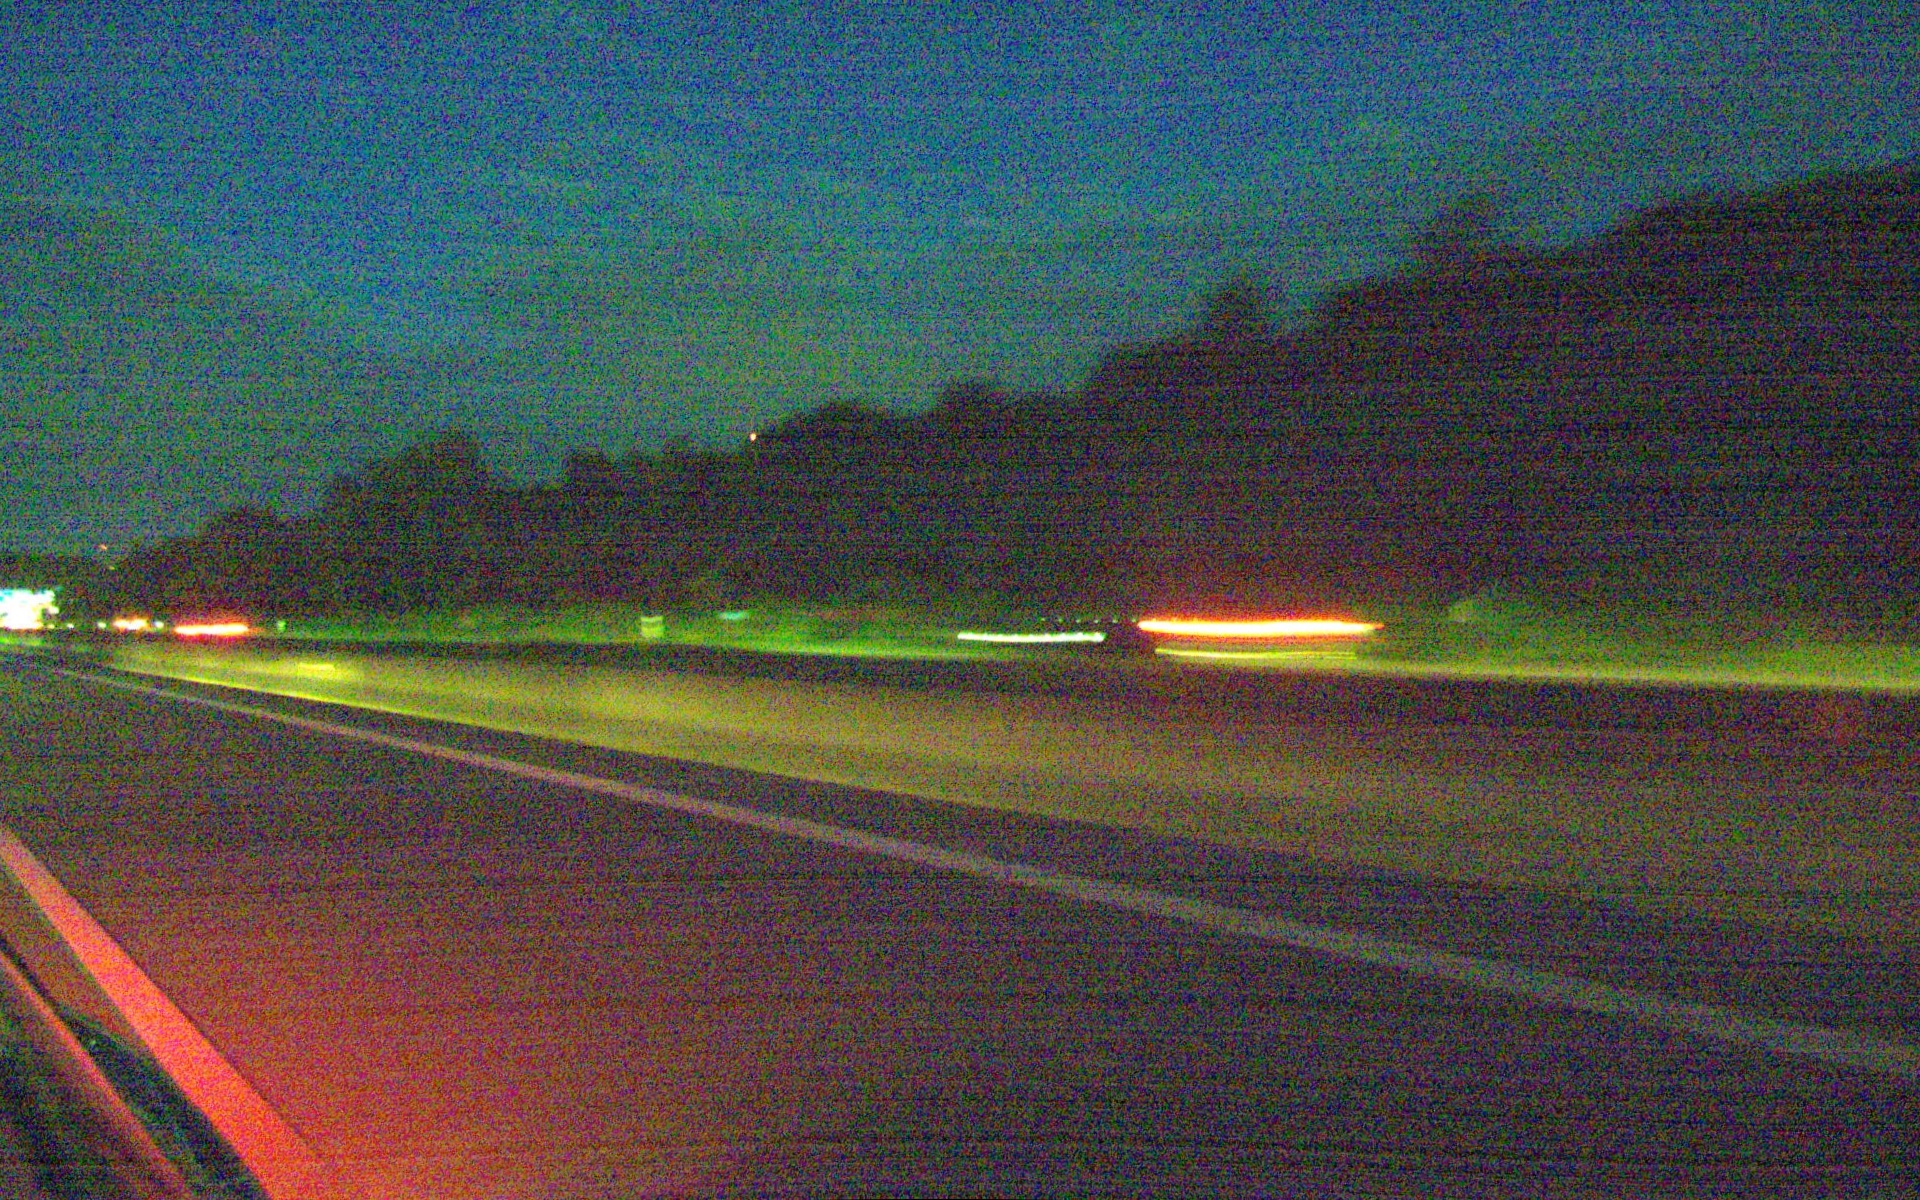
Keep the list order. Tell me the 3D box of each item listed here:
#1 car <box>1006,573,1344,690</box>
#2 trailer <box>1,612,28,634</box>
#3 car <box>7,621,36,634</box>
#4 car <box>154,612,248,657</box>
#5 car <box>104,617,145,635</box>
[{"bbox_3d":[3.370,0.462,16.395,4.883,1.610,2.222,-1,0,40],"label":"car"},{"bbox_3d":[-181.798,4.368,194.481,13.886,4.010,2.823,-2,0,43],"label":"trailer"},{"bbox_3d":[-120.284,3.515,129.743,4.887,1.681,2.221,-1,0,41],"label":"car"},{"bbox_3d":[-32.145,1.425,42.802,4.885,1.732,2.221,-1,0,41],"label":"car"},{"bbox_3d":[-79.573,2.482,96.361,4.885,1.681,2.221,-1,0,41],"label":"car"}]
